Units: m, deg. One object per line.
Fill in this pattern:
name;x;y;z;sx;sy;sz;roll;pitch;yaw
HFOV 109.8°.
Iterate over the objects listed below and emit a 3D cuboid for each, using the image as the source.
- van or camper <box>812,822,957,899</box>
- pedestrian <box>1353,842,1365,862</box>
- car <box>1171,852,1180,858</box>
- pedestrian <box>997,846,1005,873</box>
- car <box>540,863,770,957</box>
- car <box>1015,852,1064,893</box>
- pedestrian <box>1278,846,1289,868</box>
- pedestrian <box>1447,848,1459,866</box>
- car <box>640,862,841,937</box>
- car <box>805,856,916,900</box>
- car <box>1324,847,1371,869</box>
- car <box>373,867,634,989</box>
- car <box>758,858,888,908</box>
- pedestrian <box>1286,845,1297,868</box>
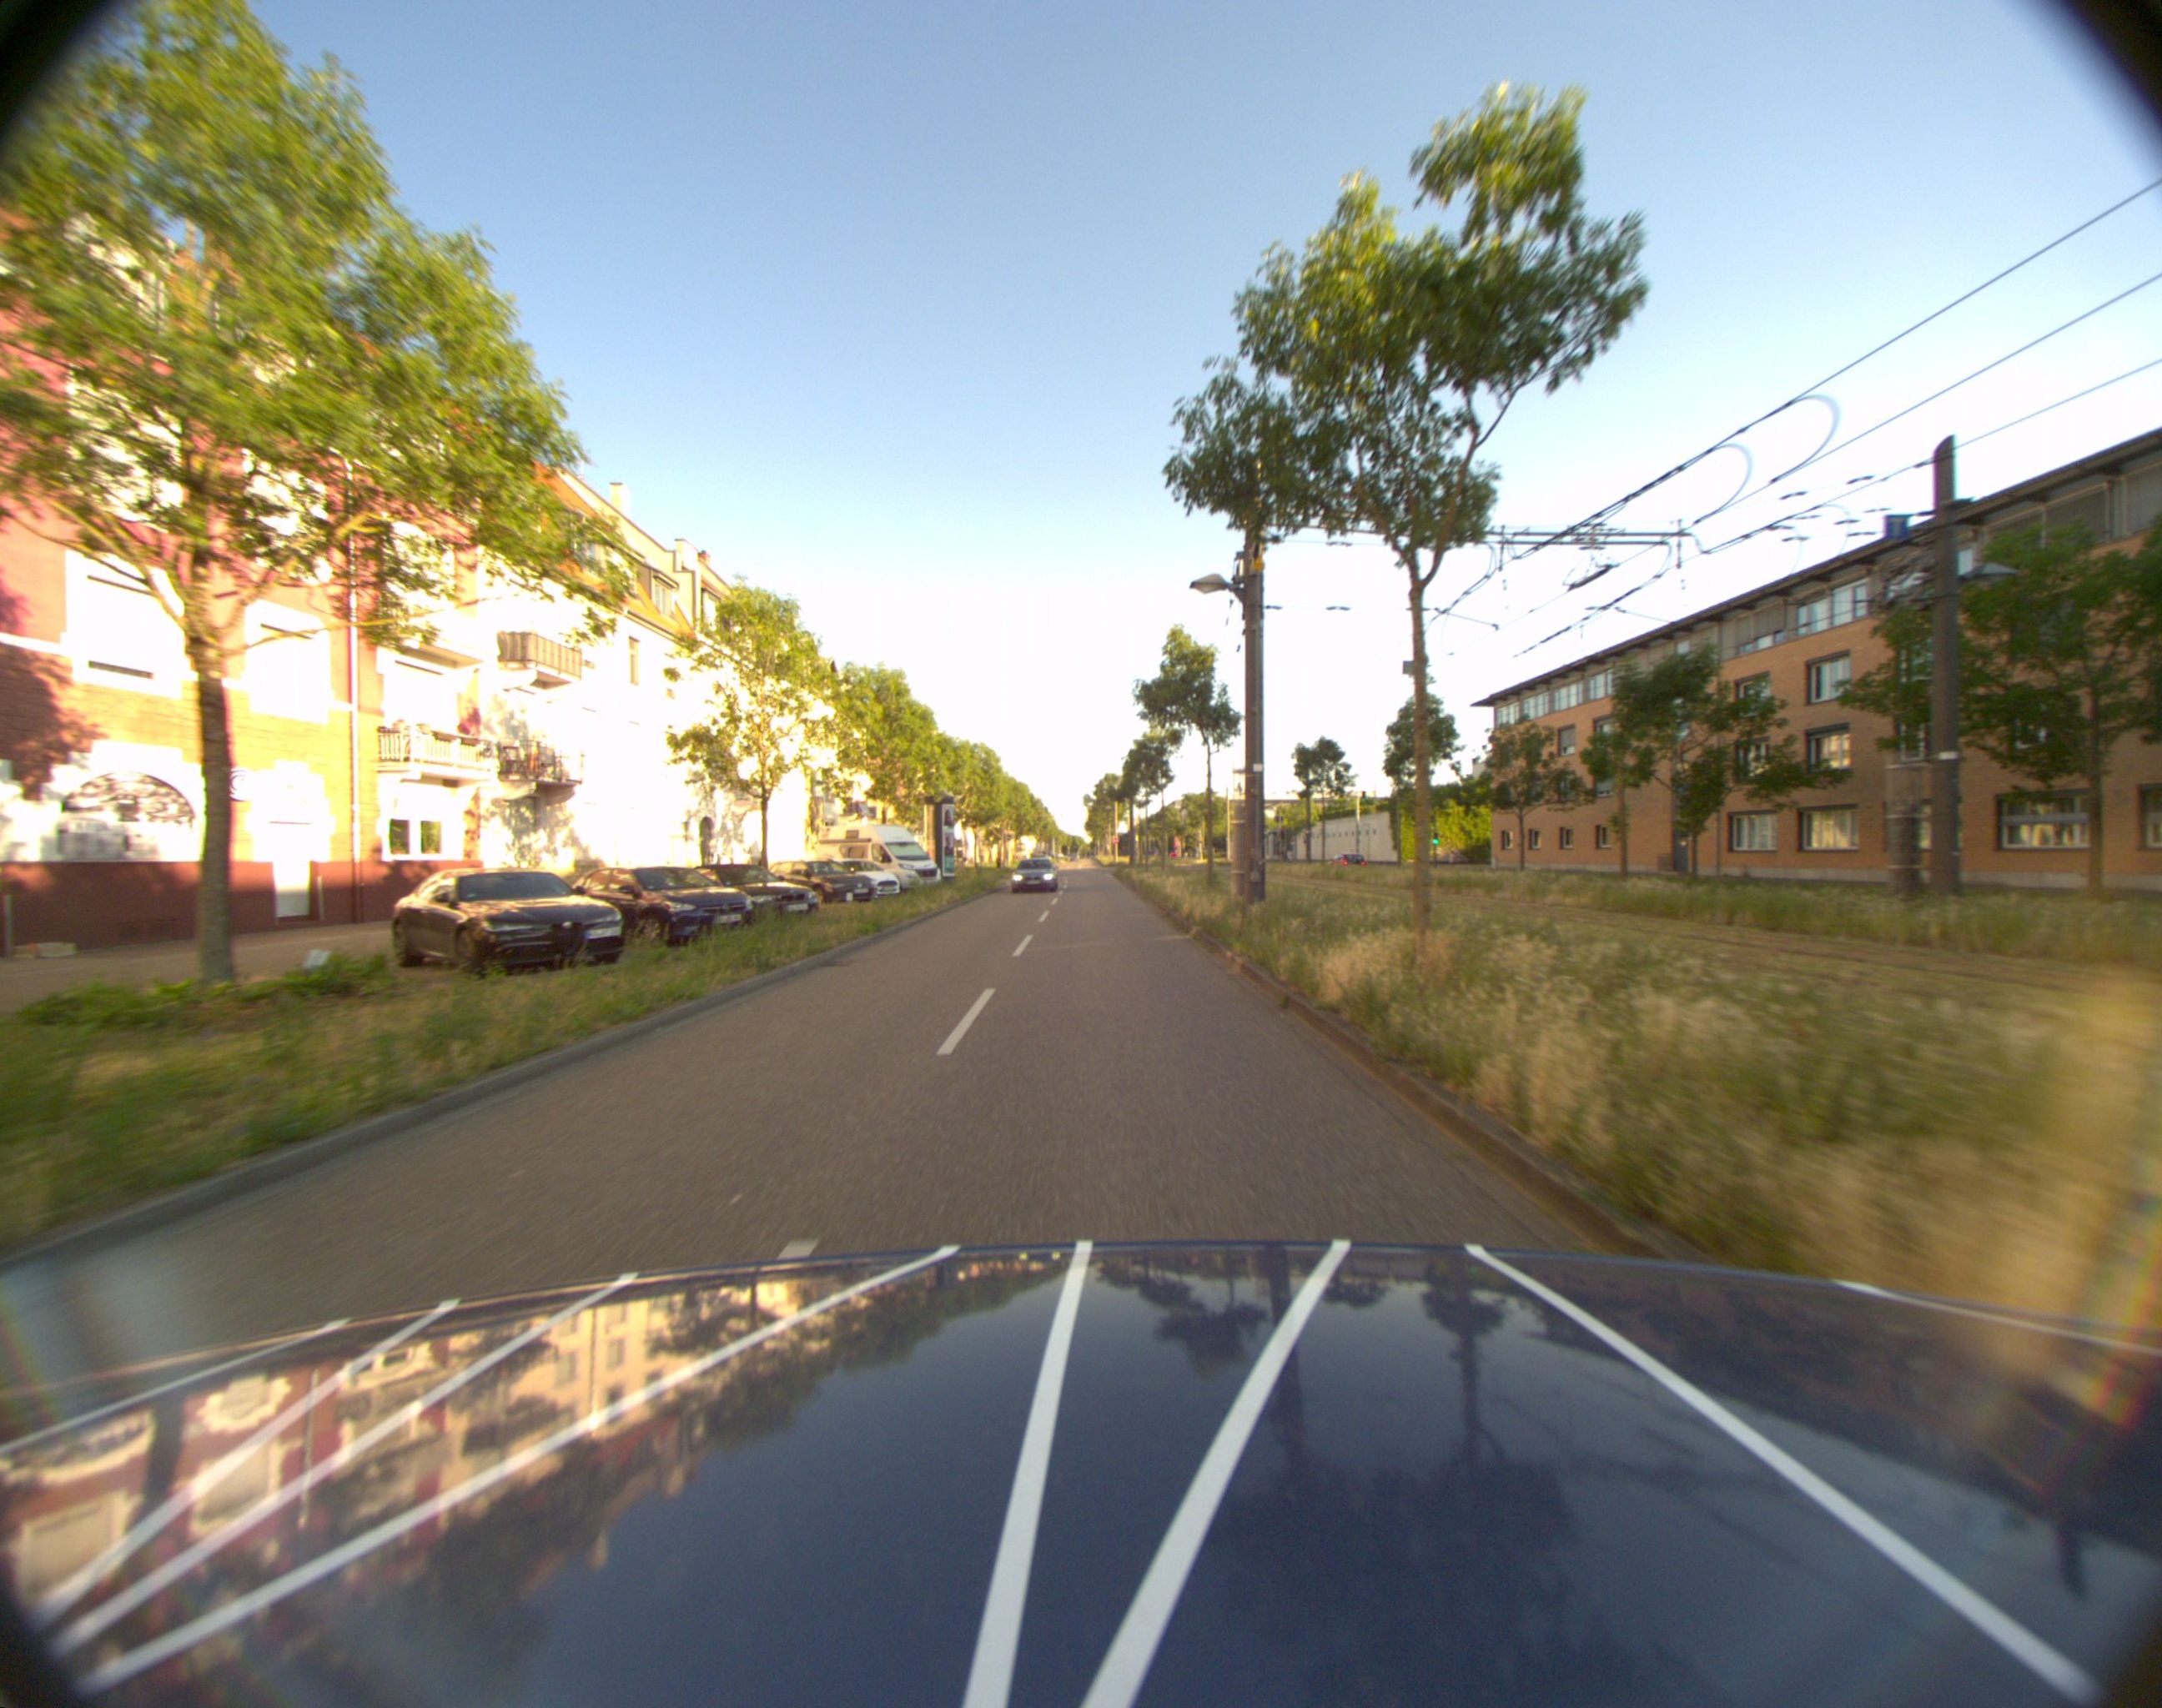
van or camper;-7.798;0.248;29.981;5.635;2.796;2.208;-1;1;32
pedestrian;27.603;-0.197;75.363;0.731;2.002;0.866;-1;1;-18
car;22.598;0.263;182.002;1.794;1.368;4.000;-1;0;0
pedestrian;-6.007;0.439;57.071;0.514;2.002;0.599;-1;1;1
car;-7.793;0.940;13.840;4.042;1.429;1.730;-1;1;29
car;-1.865;0.739;33.181;1.999;1.655;3.998;-1;0;-5
pedestrian;15.301;0.223;57.419;0.515;1.675;0.548;-2;1;-30
pedestrian;27.185;0.221;55.557;0.587;1.359;0.575;-1;1;-5
car;-7.604;0.955;16.853;4.424;1.415;1.926;-2;0;33
car;-7.772;0.800;26.627;3.912;1.395;1.799;-1;1;39
car;17.940;0.245;51.342;1.794;1.368;4.000;-1;0;0
car;-8.592;0.956;11.168;4.424;1.408;1.889;-2;0;37
car;-8.114;0.850;23.768;4.264;1.395;1.799;-1;1;38
pedestrian;15.720;0.195;56.745;0.515;1.675;0.548;-2;1;-30
